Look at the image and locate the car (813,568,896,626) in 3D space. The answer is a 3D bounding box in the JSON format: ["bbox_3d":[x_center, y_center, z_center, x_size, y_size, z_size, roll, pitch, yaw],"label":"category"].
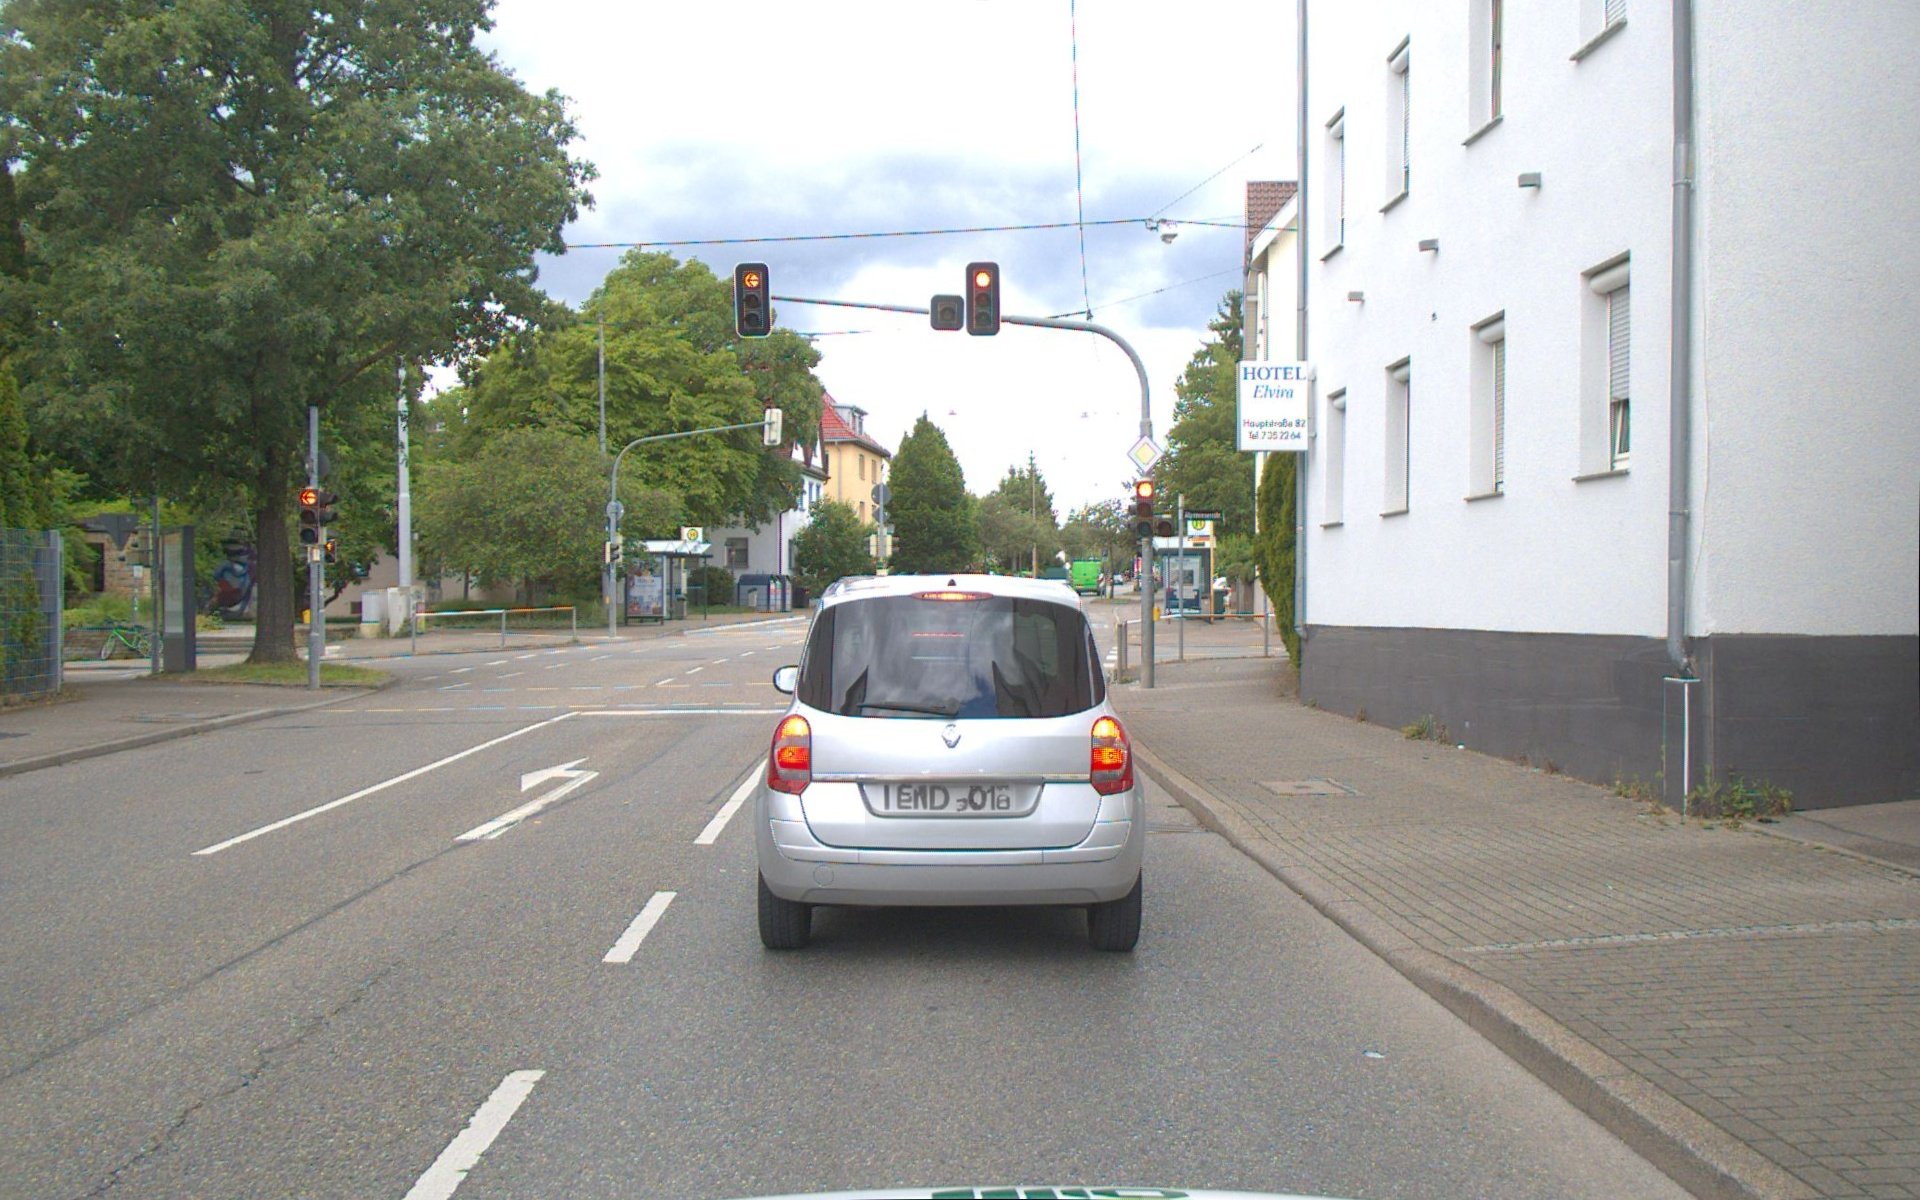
[{"bbox_3d":[-3.590,-0.123,56.983,1.885,1.804,4.004,-4,0,9],"label":"car"}]

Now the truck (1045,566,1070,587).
[{"bbox_3d":[9.996,-2.351,169.541,2.056,2.049,5.752,1,0,9],"label":"truck"}]

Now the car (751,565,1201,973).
[{"bbox_3d":[0.025,0.648,8.365,1.719,1.557,3.999,1,0,-1],"label":"car"}]

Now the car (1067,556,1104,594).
[{"bbox_3d":[8.752,-1.686,115.012,2.015,2.556,5.600,1,0,10],"label":"car"}]

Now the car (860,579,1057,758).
[{"bbox_3d":[-0.051,0.599,16.471,1.719,1.557,3.796,1,0,-1],"label":"car"}]
